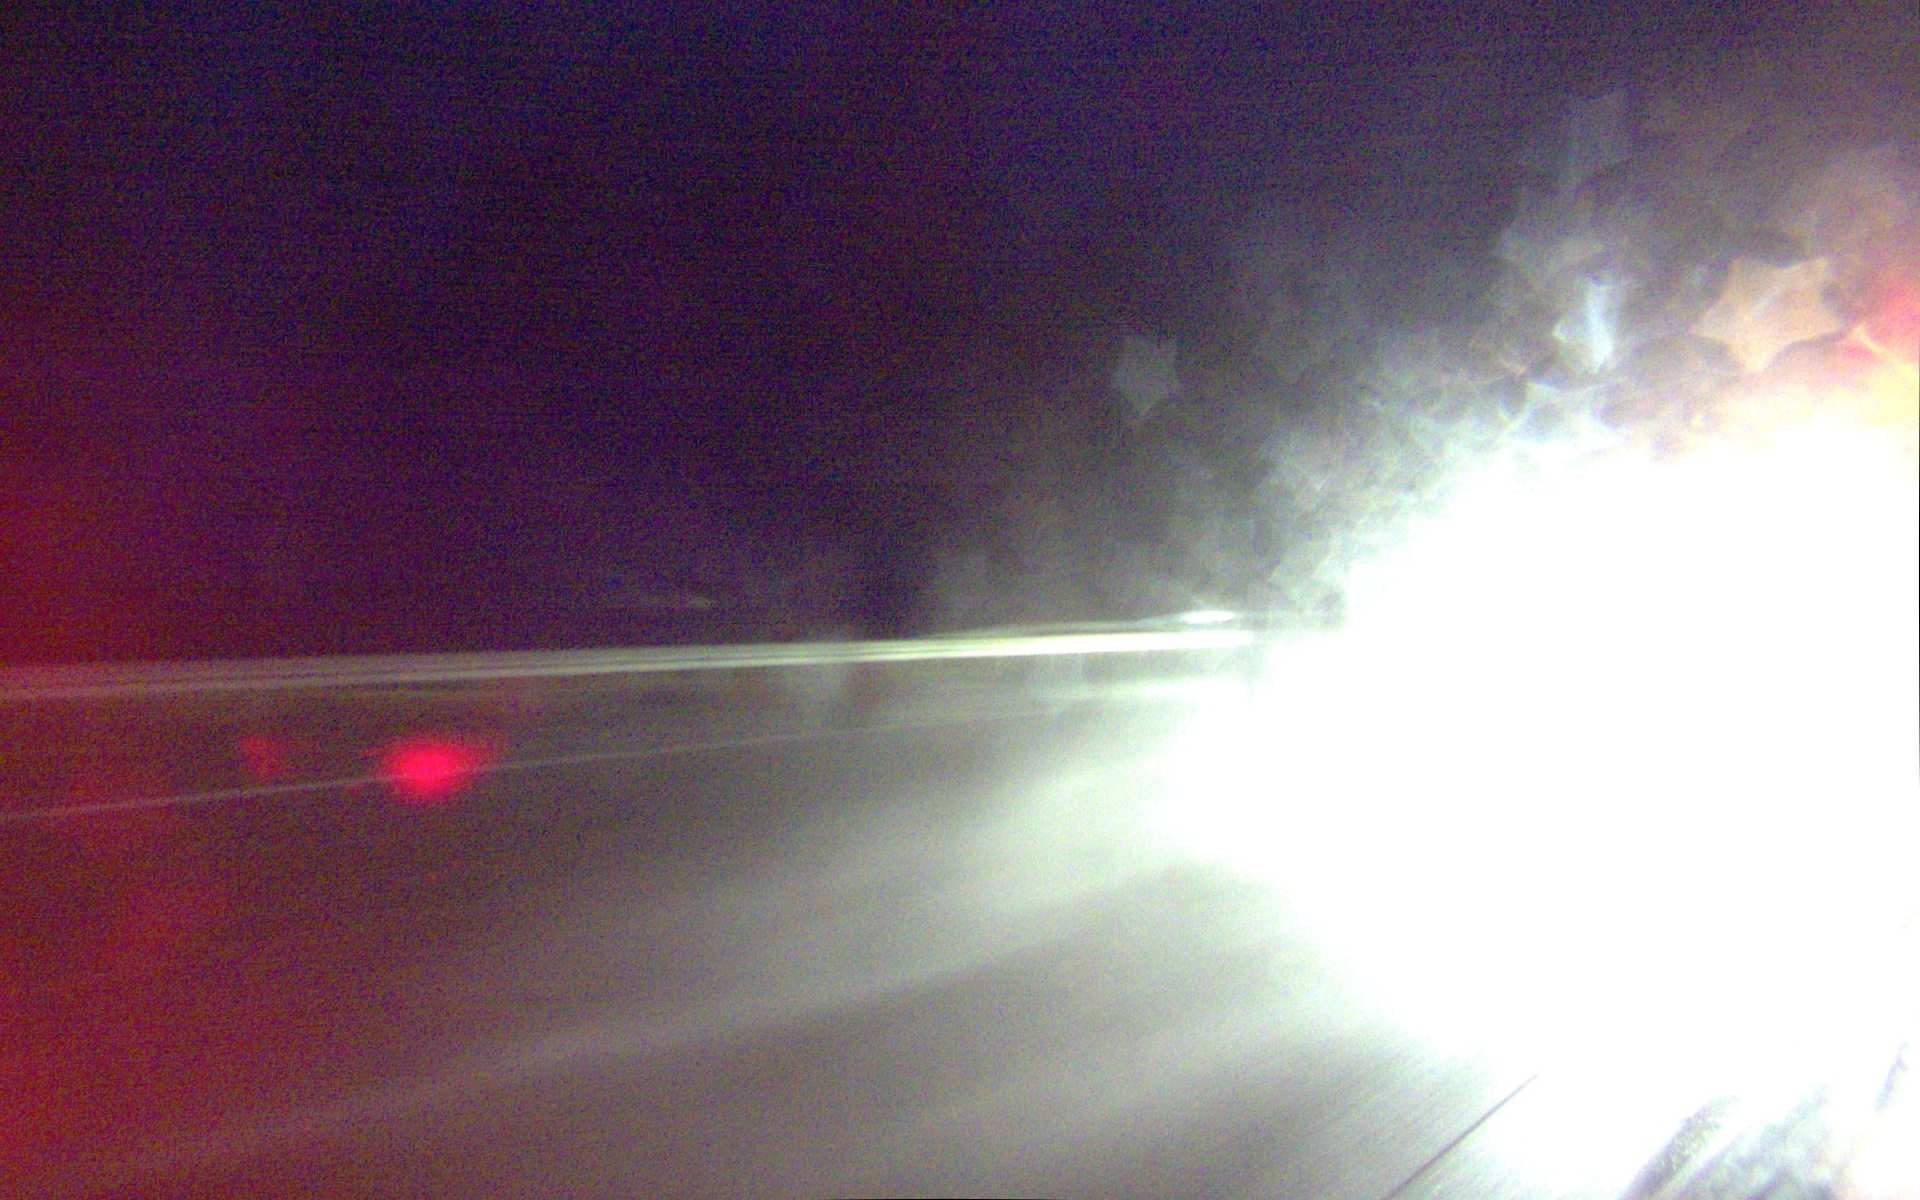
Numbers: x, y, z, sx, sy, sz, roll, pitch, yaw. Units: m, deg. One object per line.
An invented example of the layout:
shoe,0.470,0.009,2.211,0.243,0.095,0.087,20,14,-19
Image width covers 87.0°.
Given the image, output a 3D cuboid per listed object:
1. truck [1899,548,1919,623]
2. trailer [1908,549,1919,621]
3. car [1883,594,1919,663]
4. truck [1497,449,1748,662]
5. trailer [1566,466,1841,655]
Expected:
truck,56.676,-0.828,58.473,5.908,4.246,2.777,0,0,-39
trailer,60.873,-0.905,61.931,10.979,4.246,2.752,0,0,-40
car,23.088,0.631,23.733,3.700,1.522,1.619,0,0,-39
truck,15.219,-0.878,23.045,6.888,4.155,2.865,0,0,-39
trailer,20.721,-0.917,27.627,13.397,4.149,2.871,-1,0,-40
